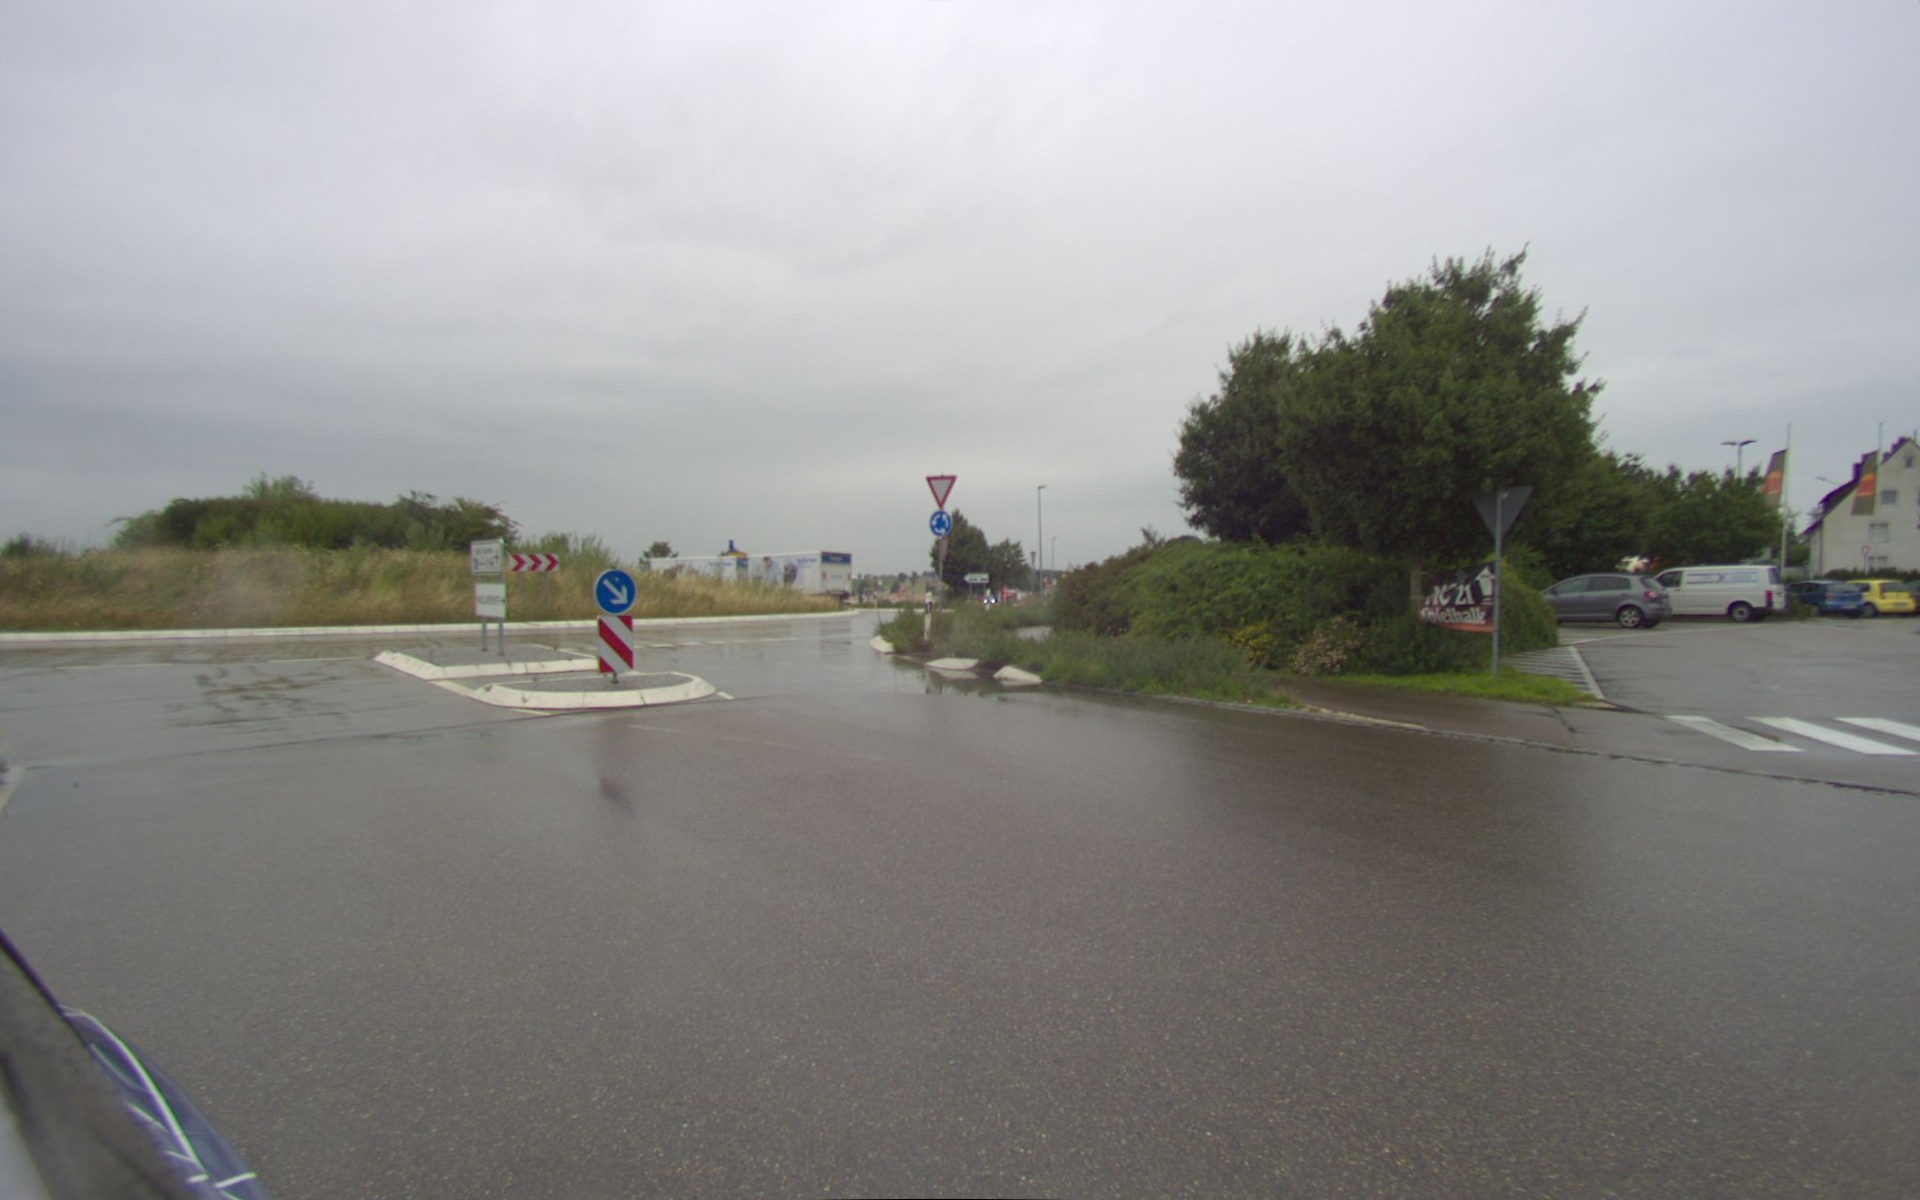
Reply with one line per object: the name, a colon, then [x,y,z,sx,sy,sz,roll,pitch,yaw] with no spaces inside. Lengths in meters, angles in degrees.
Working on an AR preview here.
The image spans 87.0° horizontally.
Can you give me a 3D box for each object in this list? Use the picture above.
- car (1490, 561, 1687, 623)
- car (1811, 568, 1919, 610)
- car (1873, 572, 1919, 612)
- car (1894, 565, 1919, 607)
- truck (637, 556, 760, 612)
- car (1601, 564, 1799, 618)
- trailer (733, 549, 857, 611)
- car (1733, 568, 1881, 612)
car: [18.712,-0.187,30.330,1.968,1.735,4.618,0,-1,-39]
car: [35.795,-0.396,39.839,1.645,1.561,3.720,-1,0,5]
car: [38.204,-0.322,39.417,1.725,1.582,3.888,-1,0,0]
car: [40.159,-0.591,40.387,1.962,1.741,4.000,-1,0,-1]
truck: [-18.021,-1.060,69.654,8.130,3.625,3.090,-1,0,26]
car: [26.330,-0.270,36.225,1.968,1.735,5.387,0,-1,-39]
trailer: [-10.656,-1.194,64.697,8.860,3.641,3.056,-1,0,43]
car: [33.020,-0.351,39.667,1.974,1.562,4.644,-1,-1,3]
